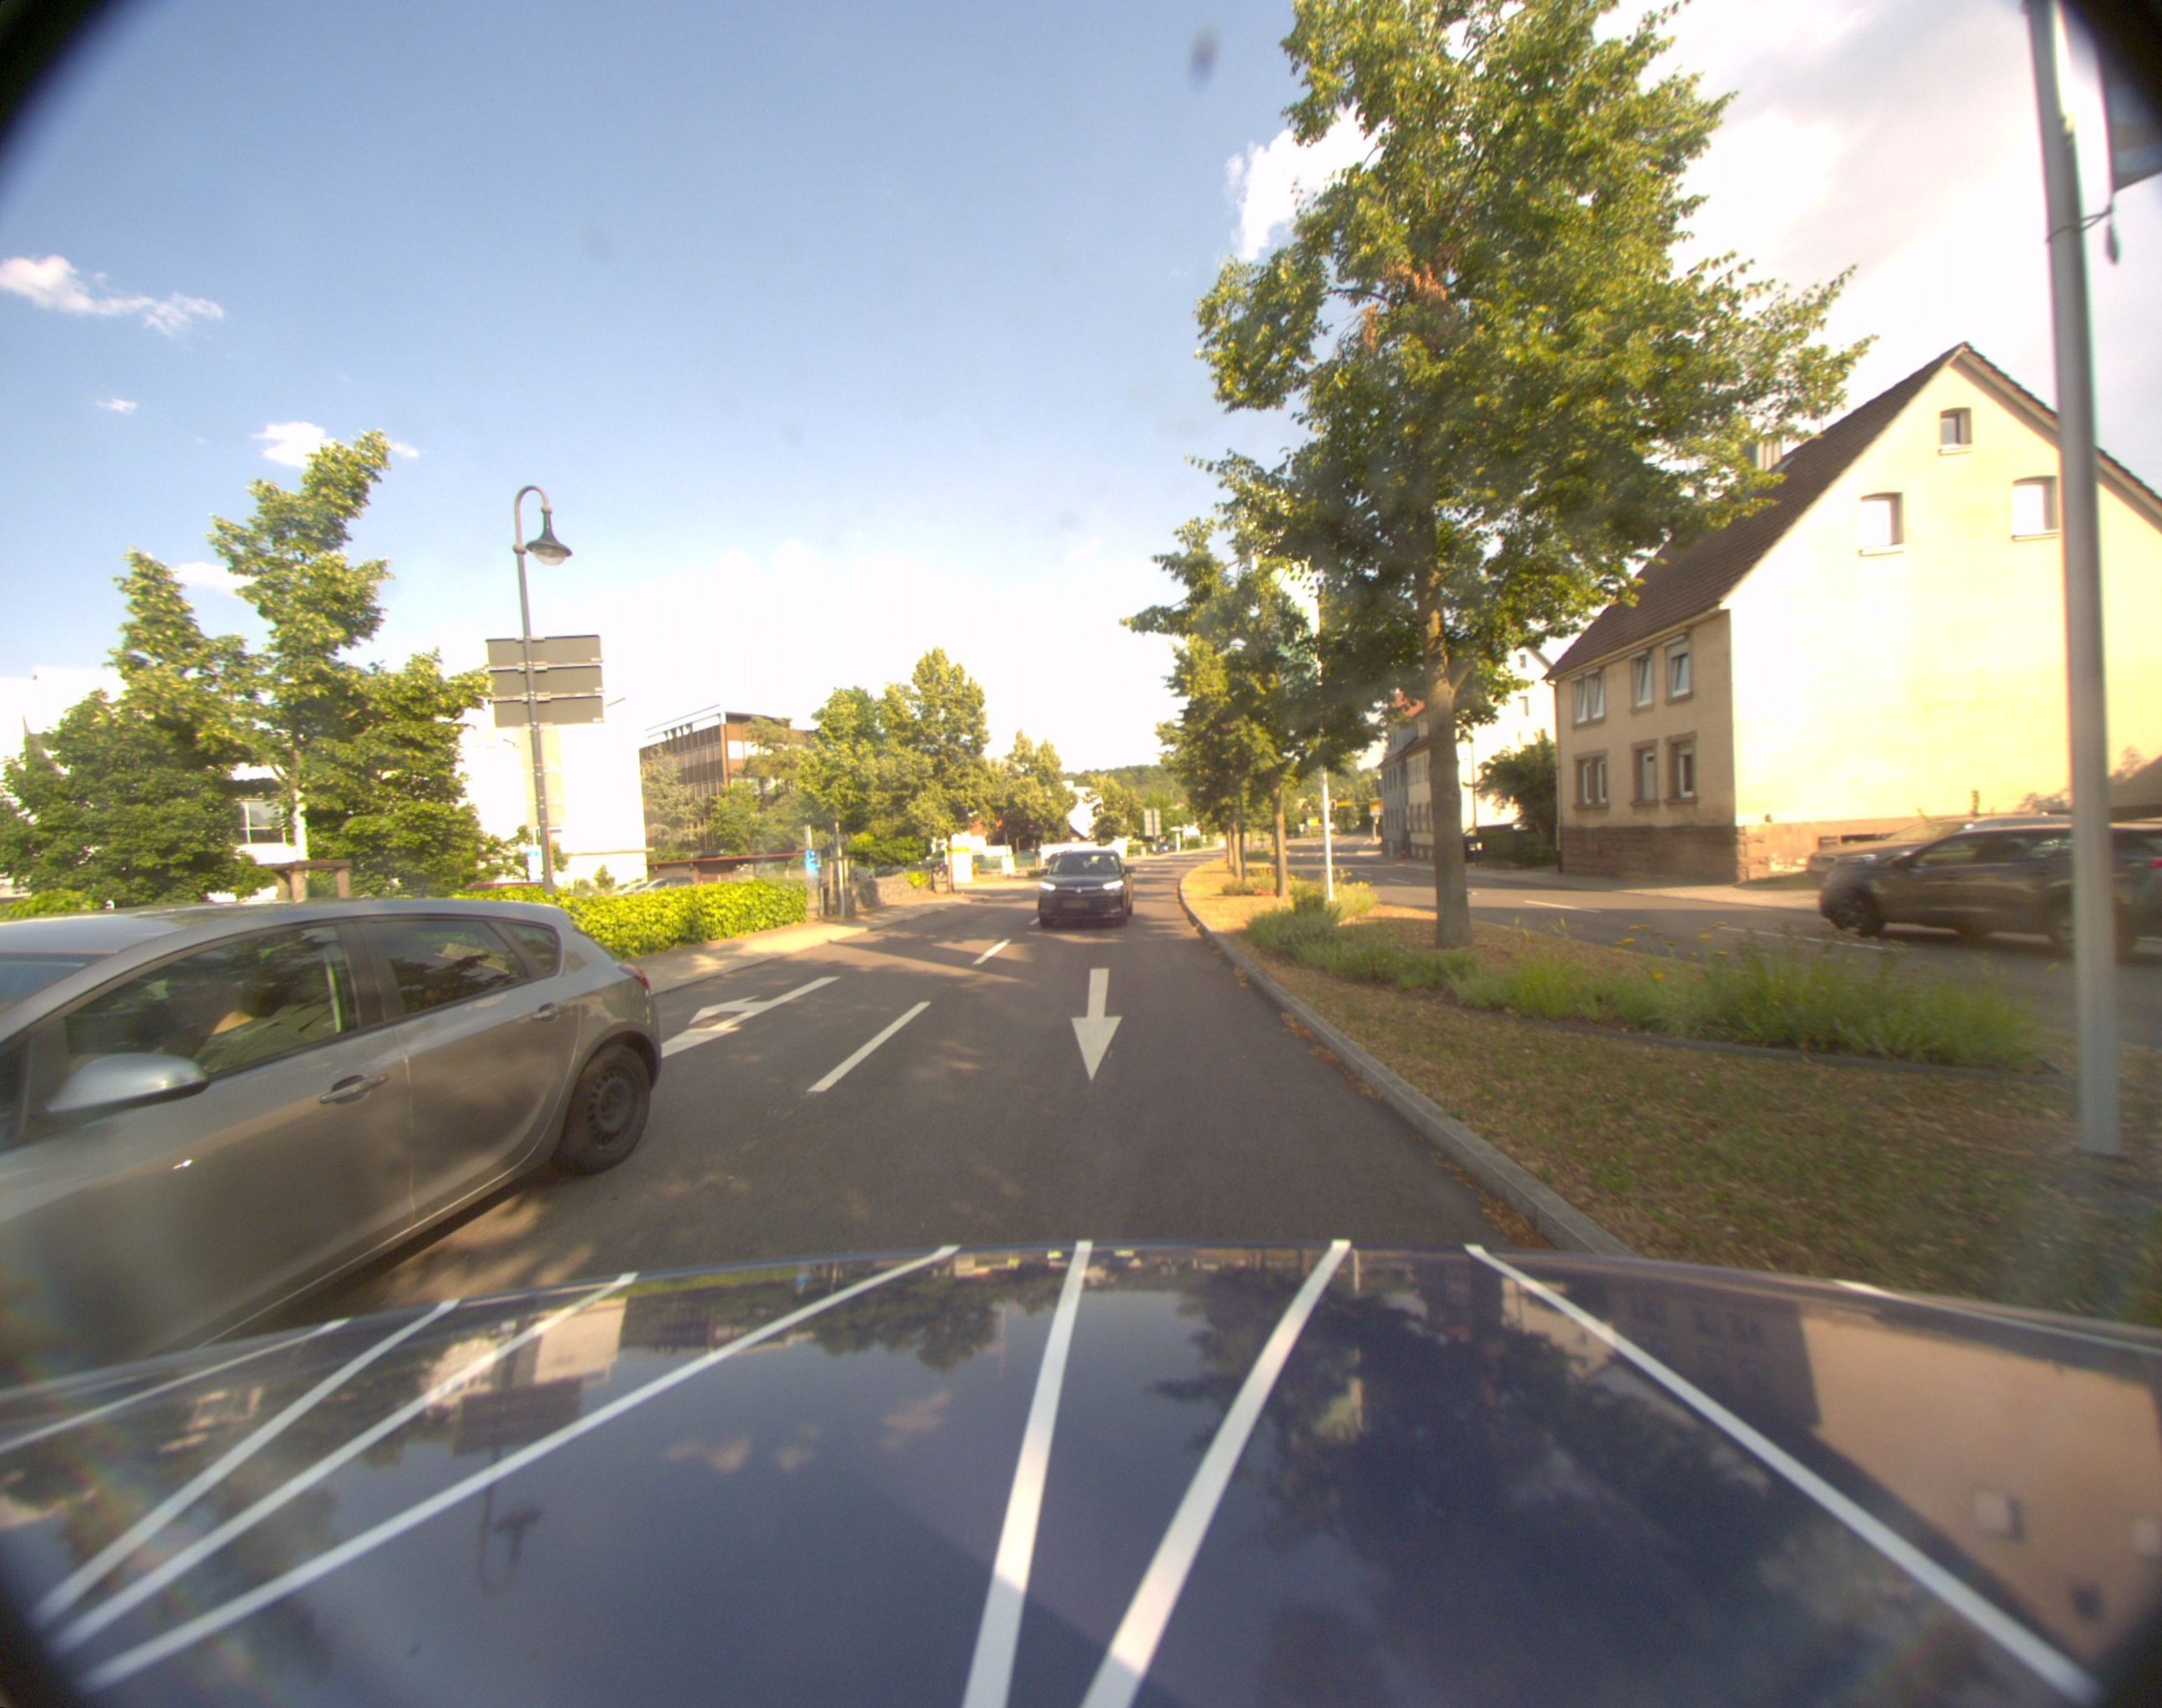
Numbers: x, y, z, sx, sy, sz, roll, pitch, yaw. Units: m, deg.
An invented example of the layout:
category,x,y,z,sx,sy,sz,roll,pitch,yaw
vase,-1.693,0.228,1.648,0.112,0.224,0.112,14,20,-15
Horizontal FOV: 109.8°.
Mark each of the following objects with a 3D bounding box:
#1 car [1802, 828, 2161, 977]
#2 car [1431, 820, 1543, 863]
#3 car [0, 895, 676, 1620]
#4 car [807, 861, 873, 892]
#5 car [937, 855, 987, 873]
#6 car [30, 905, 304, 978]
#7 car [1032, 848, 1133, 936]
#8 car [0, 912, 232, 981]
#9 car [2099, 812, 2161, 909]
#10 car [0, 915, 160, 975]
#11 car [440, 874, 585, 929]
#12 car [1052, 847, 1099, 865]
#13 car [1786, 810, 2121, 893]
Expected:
category,x,y,z,sx,sy,sz,roll,pitch,yaw
car,11.948,0.448,9.500,1.944,1.477,4.325,-2,1,4
car,21.450,-0.653,40.373,4.832,1.866,2.002,-4,1,14
car,-3.291,1.004,2.264,1.725,1.481,4.307,-2,0,1
car,-13.461,1.244,42.674,1.655,1.454,3.869,-3,1,15
car,-11.057,0.960,70.723,3.993,1.412,1.940,-3,1,15
car,-25.737,2.400,21.705,1.997,1.435,4.550,-3,1,9
car,0.169,0.727,16.783,1.724,1.605,4.262,-2,1,6
car,-28.345,2.636,22.358,1.997,1.435,3.955,-3,1,9
car,18.761,0.001,11.061,4.351,1.477,1.948,-3,0,19
car,-32.674,2.871,23.751,1.876,1.435,4.550,-3,1,9
car,-23.417,1.890,31.571,1.997,1.844,4.650,-3,1,10
car,-0.477,0.198,68.544,3.831,1.412,1.940,-3,1,15
car,18.664,-0.040,16.561,4.352,1.477,2.014,-3,1,18
